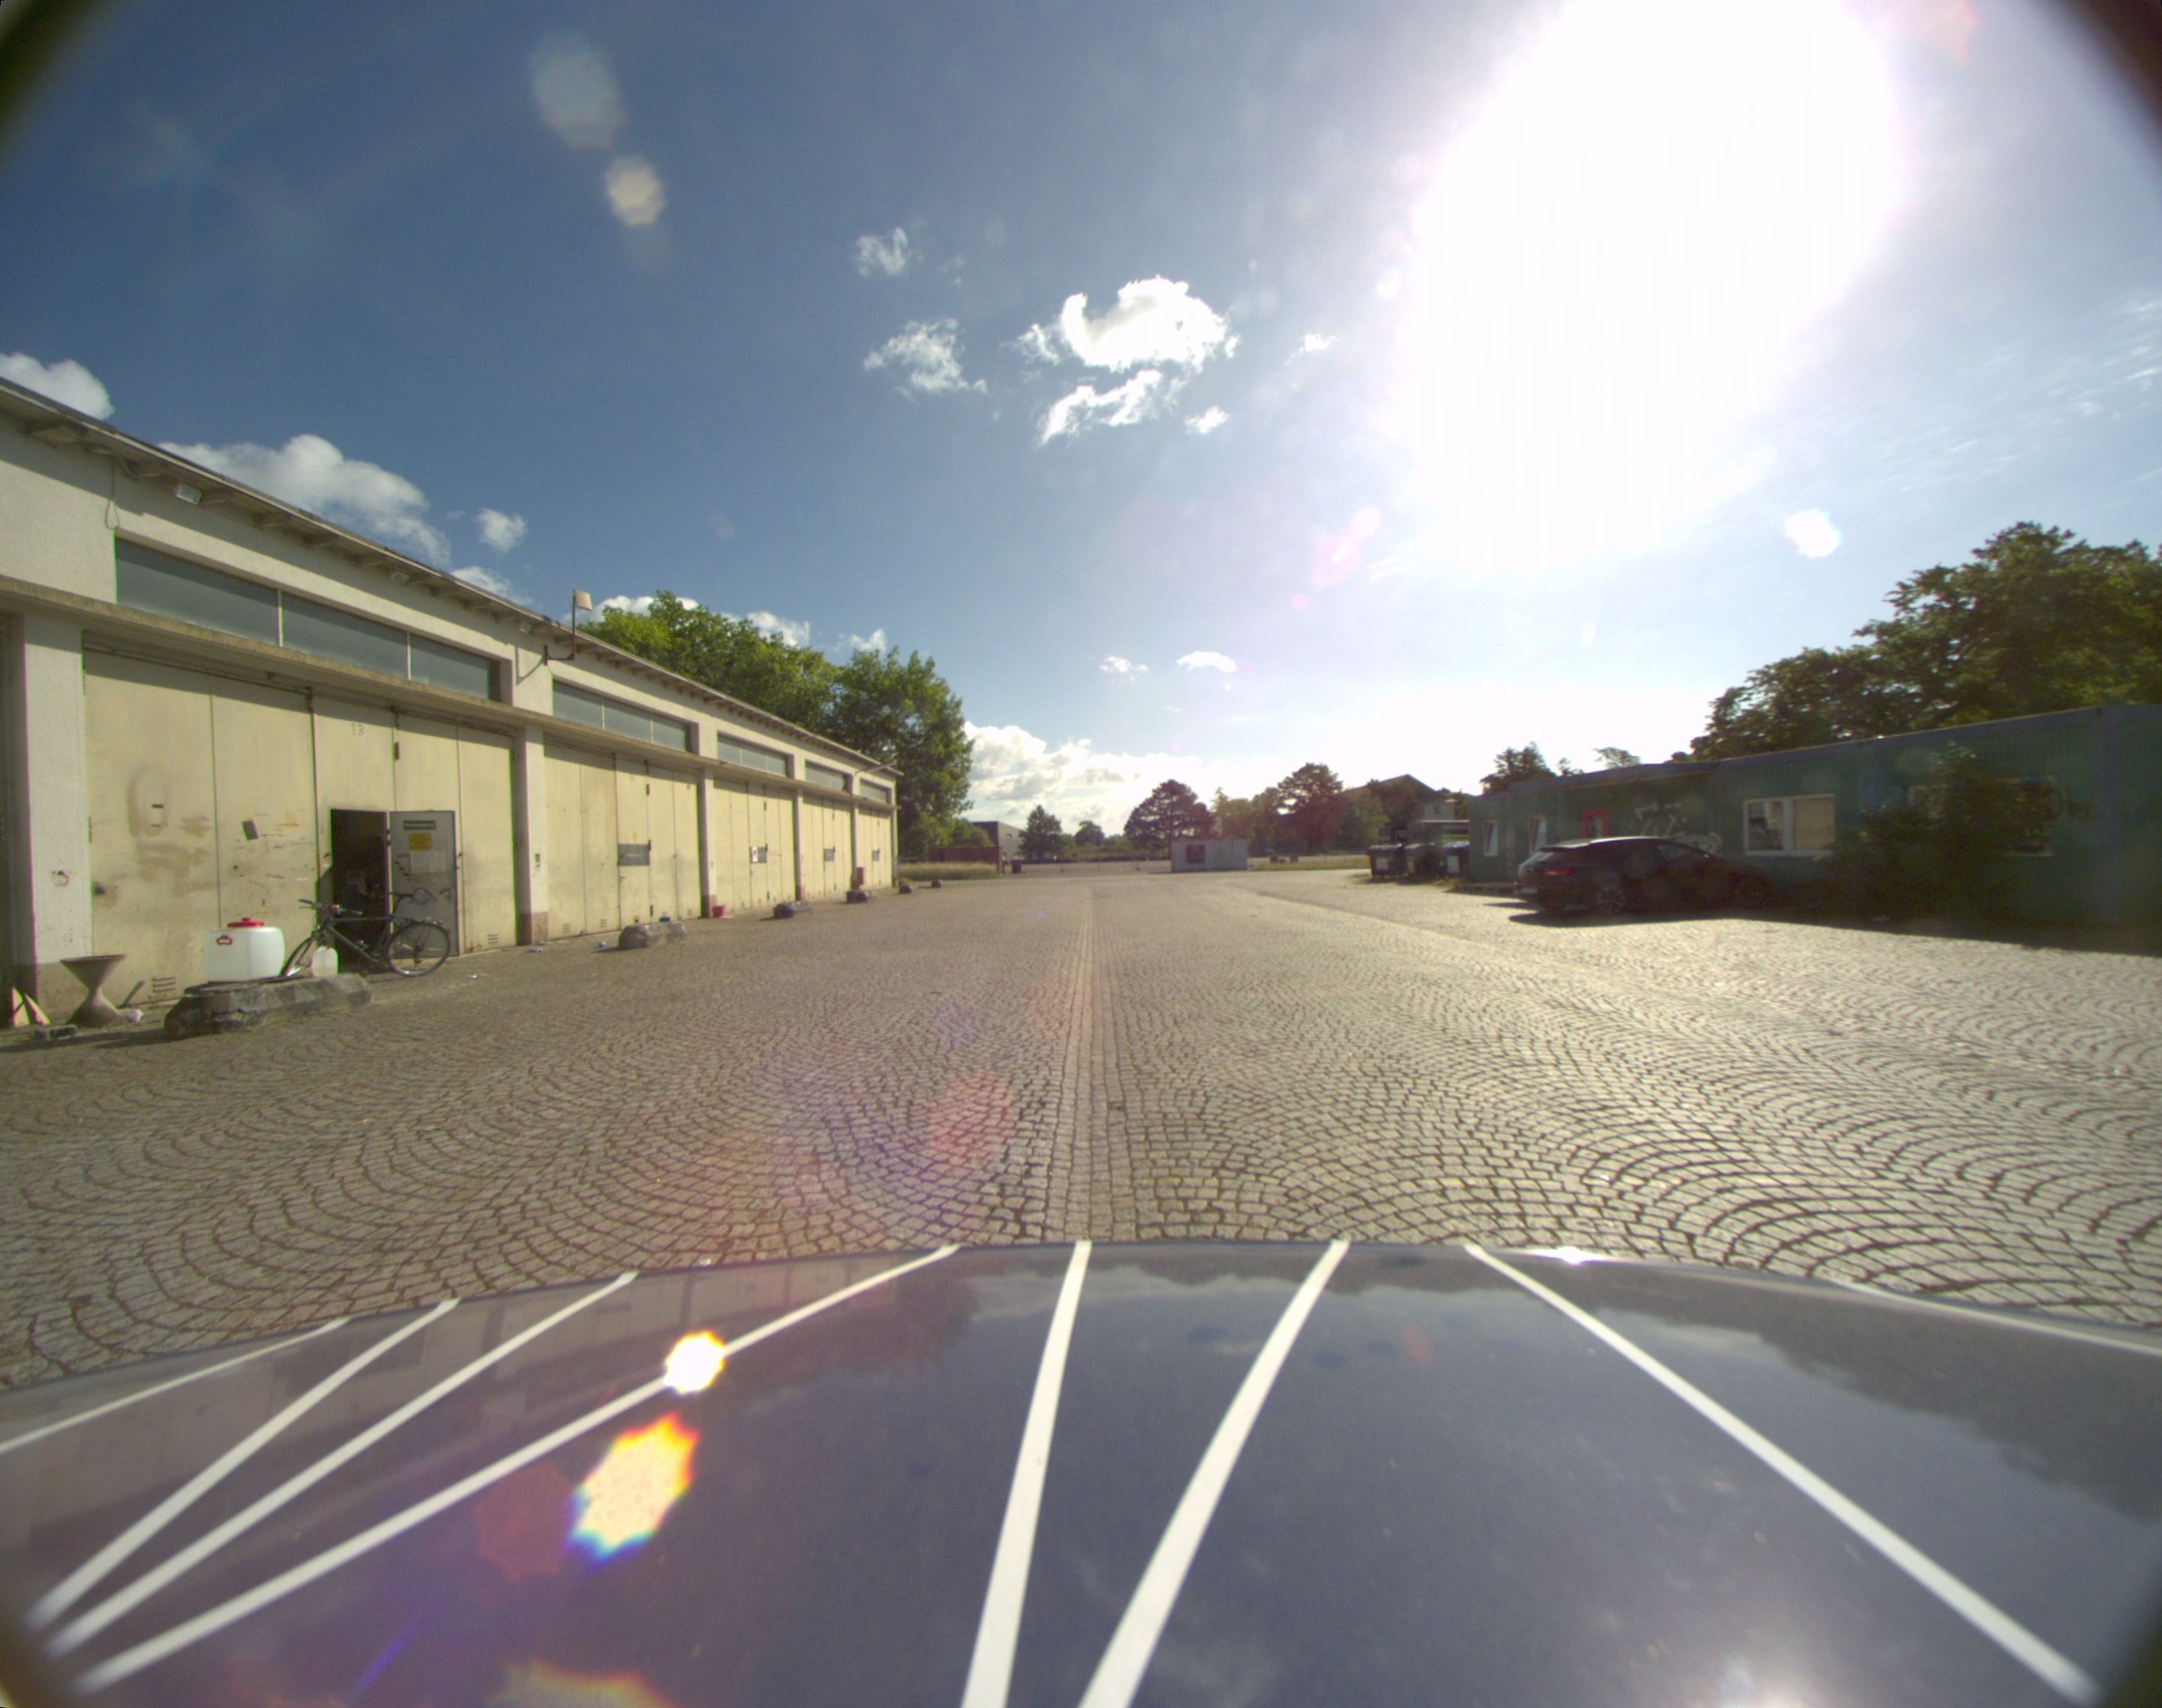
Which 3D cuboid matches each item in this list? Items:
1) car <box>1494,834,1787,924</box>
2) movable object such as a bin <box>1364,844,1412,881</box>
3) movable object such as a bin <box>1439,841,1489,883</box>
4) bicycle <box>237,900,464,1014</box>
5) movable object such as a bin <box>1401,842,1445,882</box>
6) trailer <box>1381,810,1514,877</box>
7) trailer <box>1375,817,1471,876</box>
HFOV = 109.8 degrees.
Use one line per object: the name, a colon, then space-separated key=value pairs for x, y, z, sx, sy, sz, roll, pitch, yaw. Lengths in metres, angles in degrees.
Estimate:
car: x=10.718 y=0.448 z=14.791 sx=4.262 sy=1.441 sz=1.931 roll=-3 pitch=1 yaw=-1
movable object such as a bin: x=12.586 y=0.336 z=31.155 sx=1.434 sy=1.449 sz=1.158 roll=-2 pitch=2 yaw=44
movable object such as a bin: x=13.782 y=0.274 z=27.350 sx=0.885 sy=1.449 sz=1.439 roll=-3 pitch=1 yaw=-10
bicycle: x=-8.561 y=1.167 z=9.038 sx=0.665 sy=1.062 sz=1.825 roll=-2 pitch=1 yaw=13
movable object such as a bin: x=13.052 y=0.283 z=29.037 sx=1.020 sy=1.449 sz=1.440 roll=-3 pitch=1 yaw=0
trailer: x=15.488 y=-0.431 z=32.260 sx=4.649 sy=2.553 sz=1.951 roll=-3 pitch=1 yaw=-3
trailer: x=15.551 y=-0.340 z=34.712 sx=3.393 sy=2.455 sz=2.044 roll=-3 pitch=1 yaw=2
